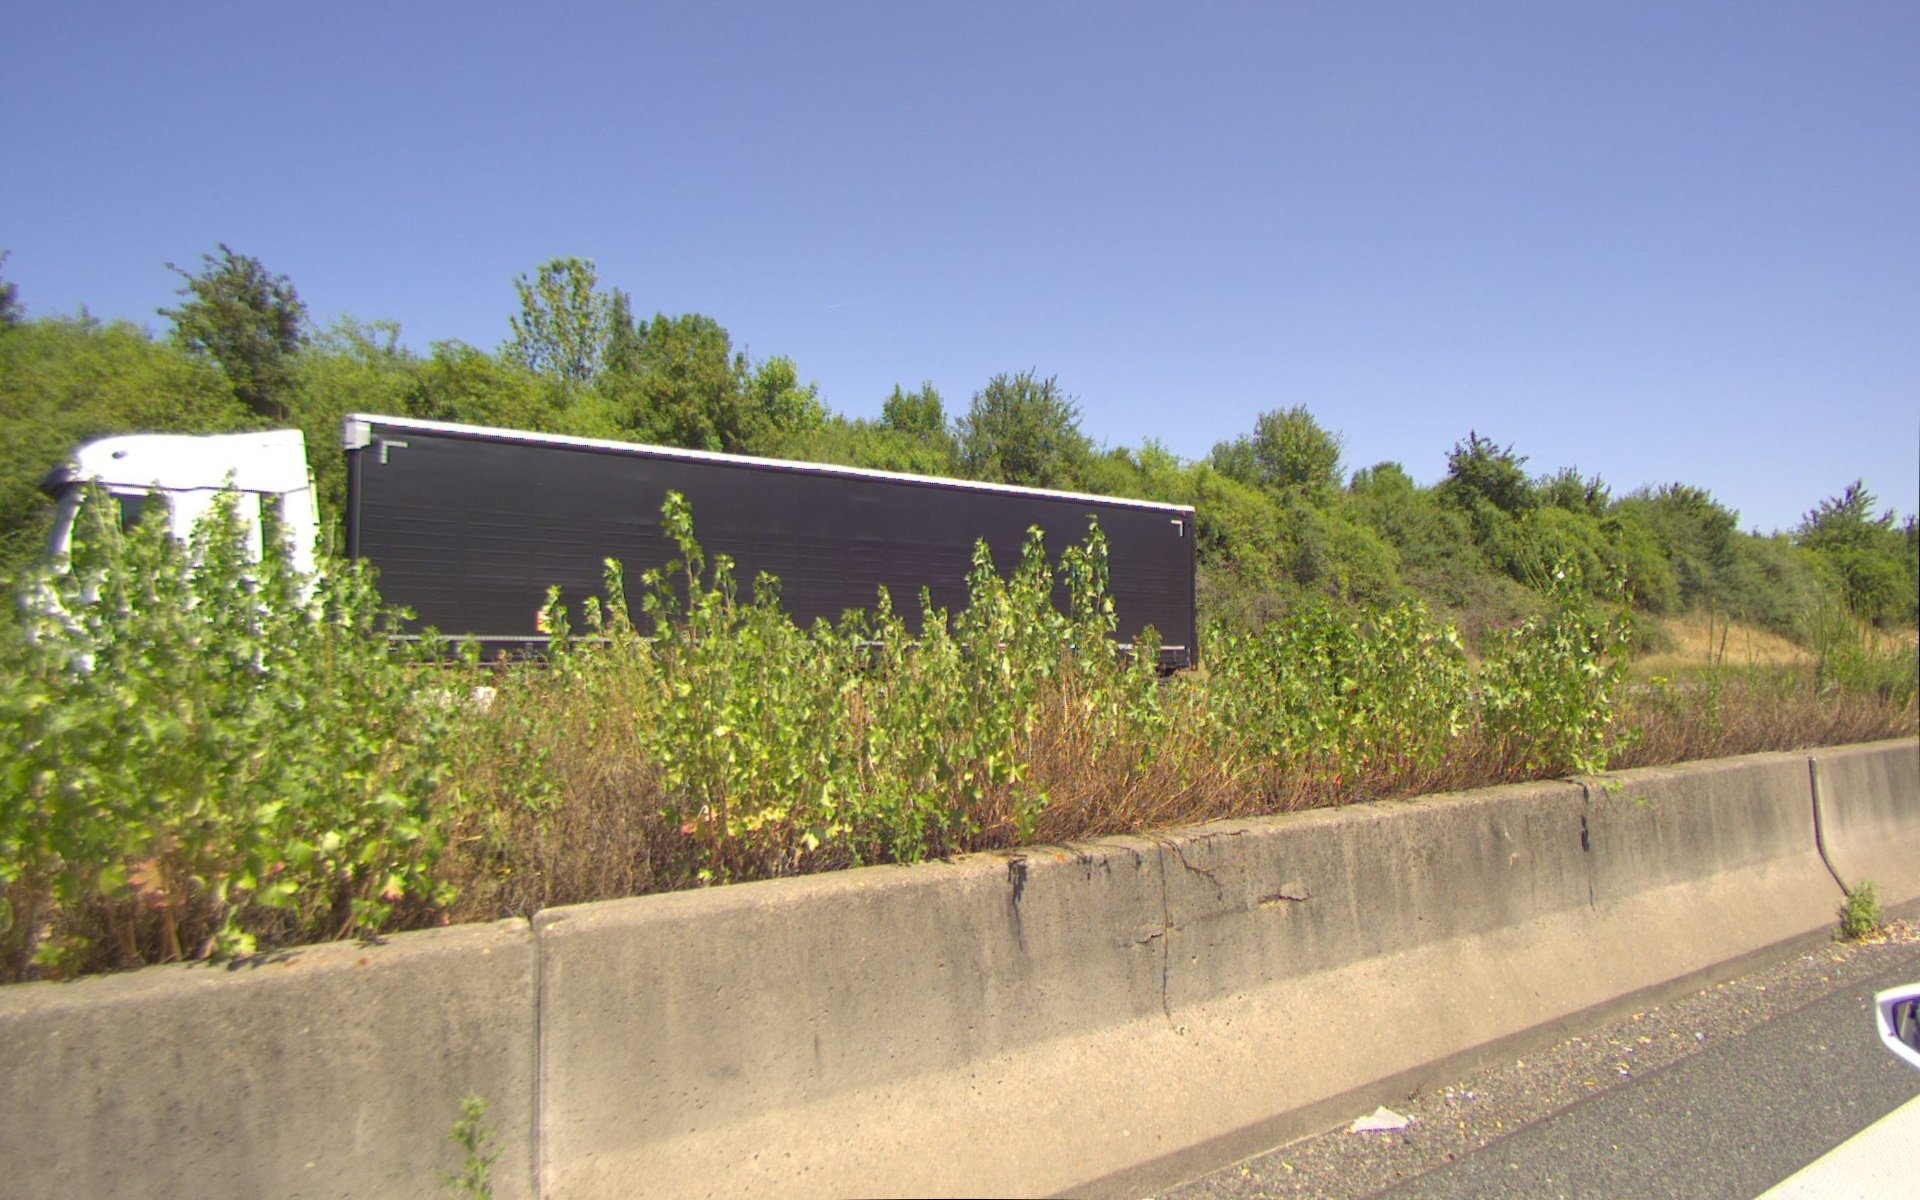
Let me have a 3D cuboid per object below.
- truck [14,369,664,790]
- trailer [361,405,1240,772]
[{"bbox_3d":[-7.326,-0.071,12.854,6.337,4.220,2.739,1,-4,-31],"label":"truck"},{"bbox_3d":[-1.516,0.095,16.349,14.033,4.220,2.740,2,-4,-31],"label":"trailer"}]
